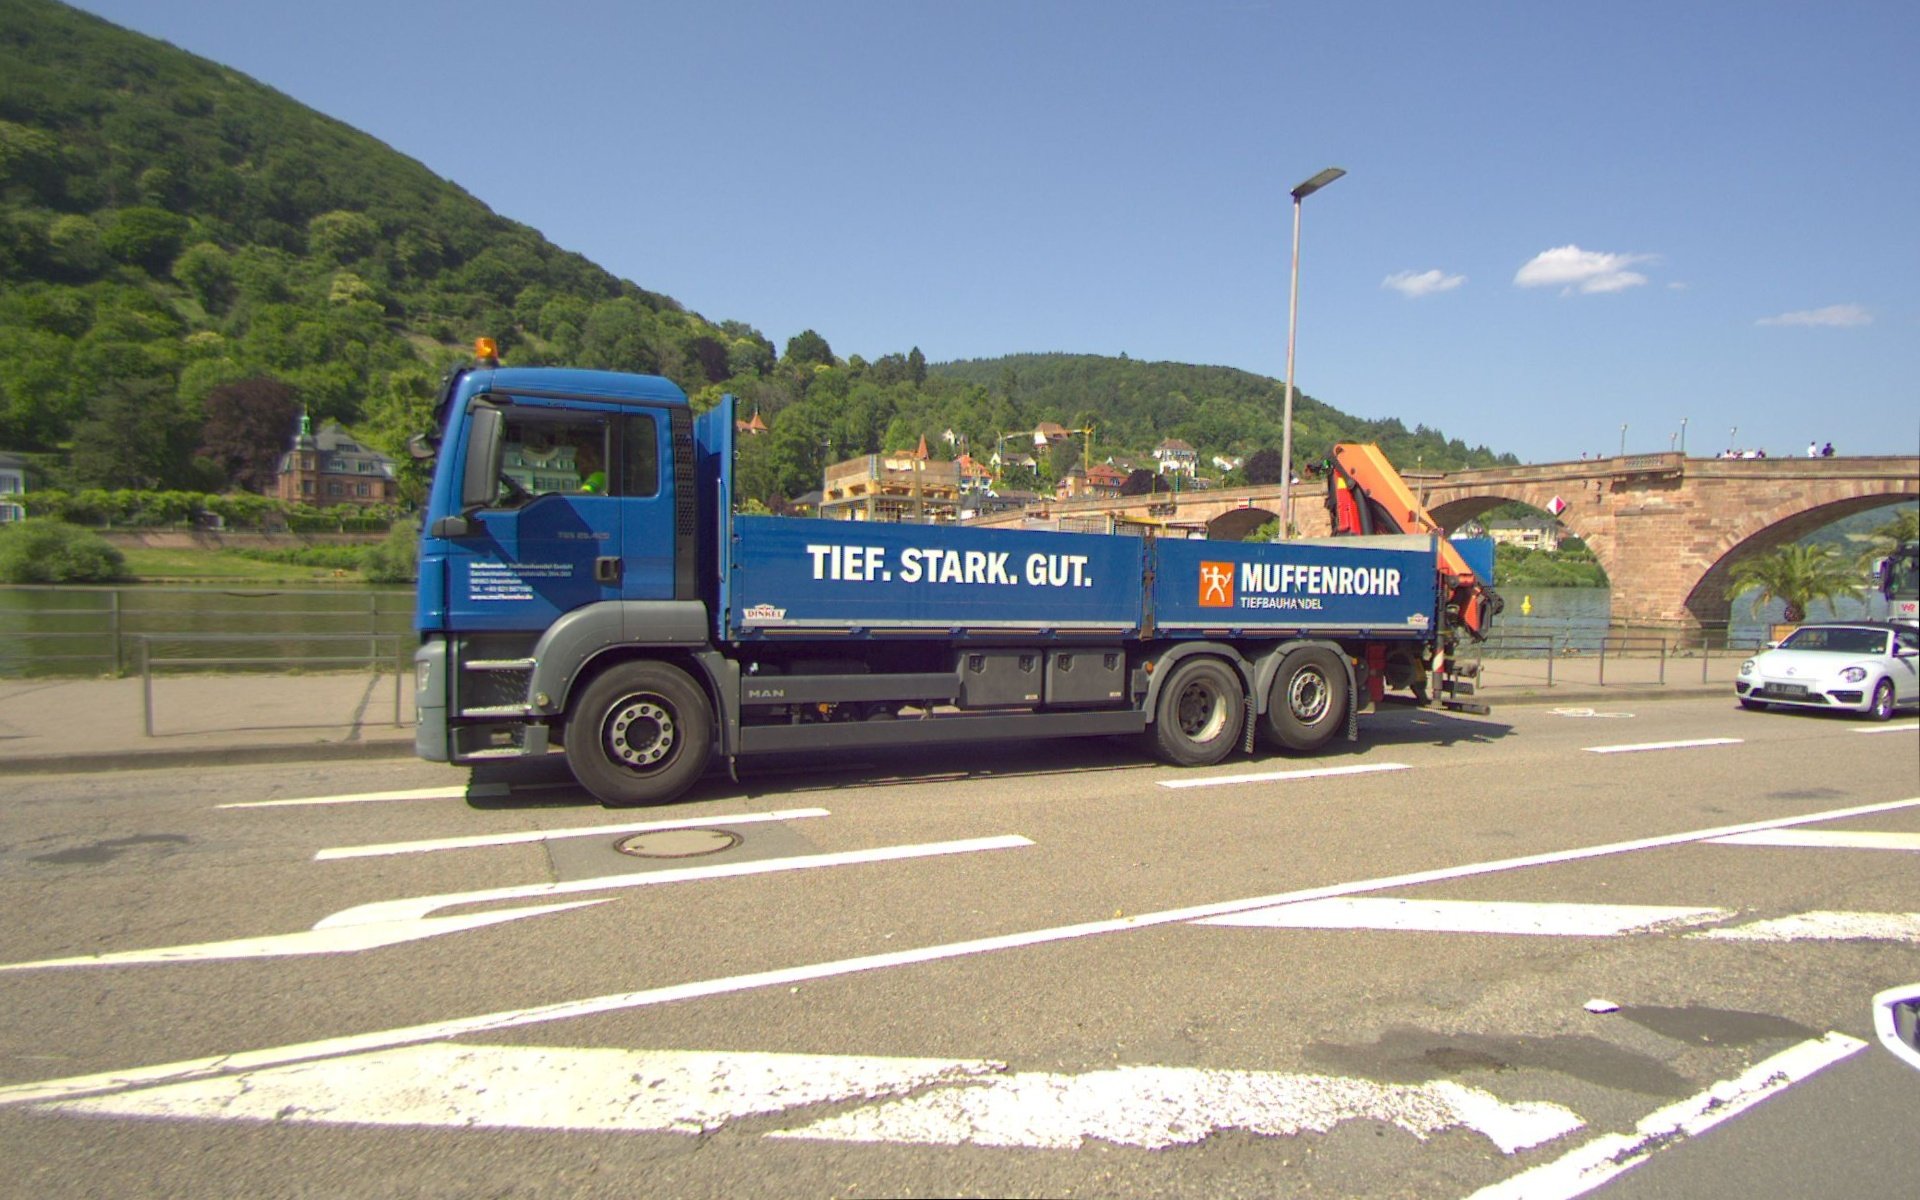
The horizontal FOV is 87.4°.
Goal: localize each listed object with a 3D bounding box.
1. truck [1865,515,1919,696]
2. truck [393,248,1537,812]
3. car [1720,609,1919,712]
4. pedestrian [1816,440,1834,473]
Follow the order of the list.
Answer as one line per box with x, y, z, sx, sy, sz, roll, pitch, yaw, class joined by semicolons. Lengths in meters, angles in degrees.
22.255;0.202;20.820;7.771;3.503;2.632;1;0;-28;truck
0.843;-0.375;9.881;10.959;3.523;2.633;1;1;-26;truck
14.458;0.935;16.355;3.946;1.463;1.771;1;1;-27;car
56.859;-9.421;66.042;0.619;2.041;0.689;1;1;-33;pedestrian
